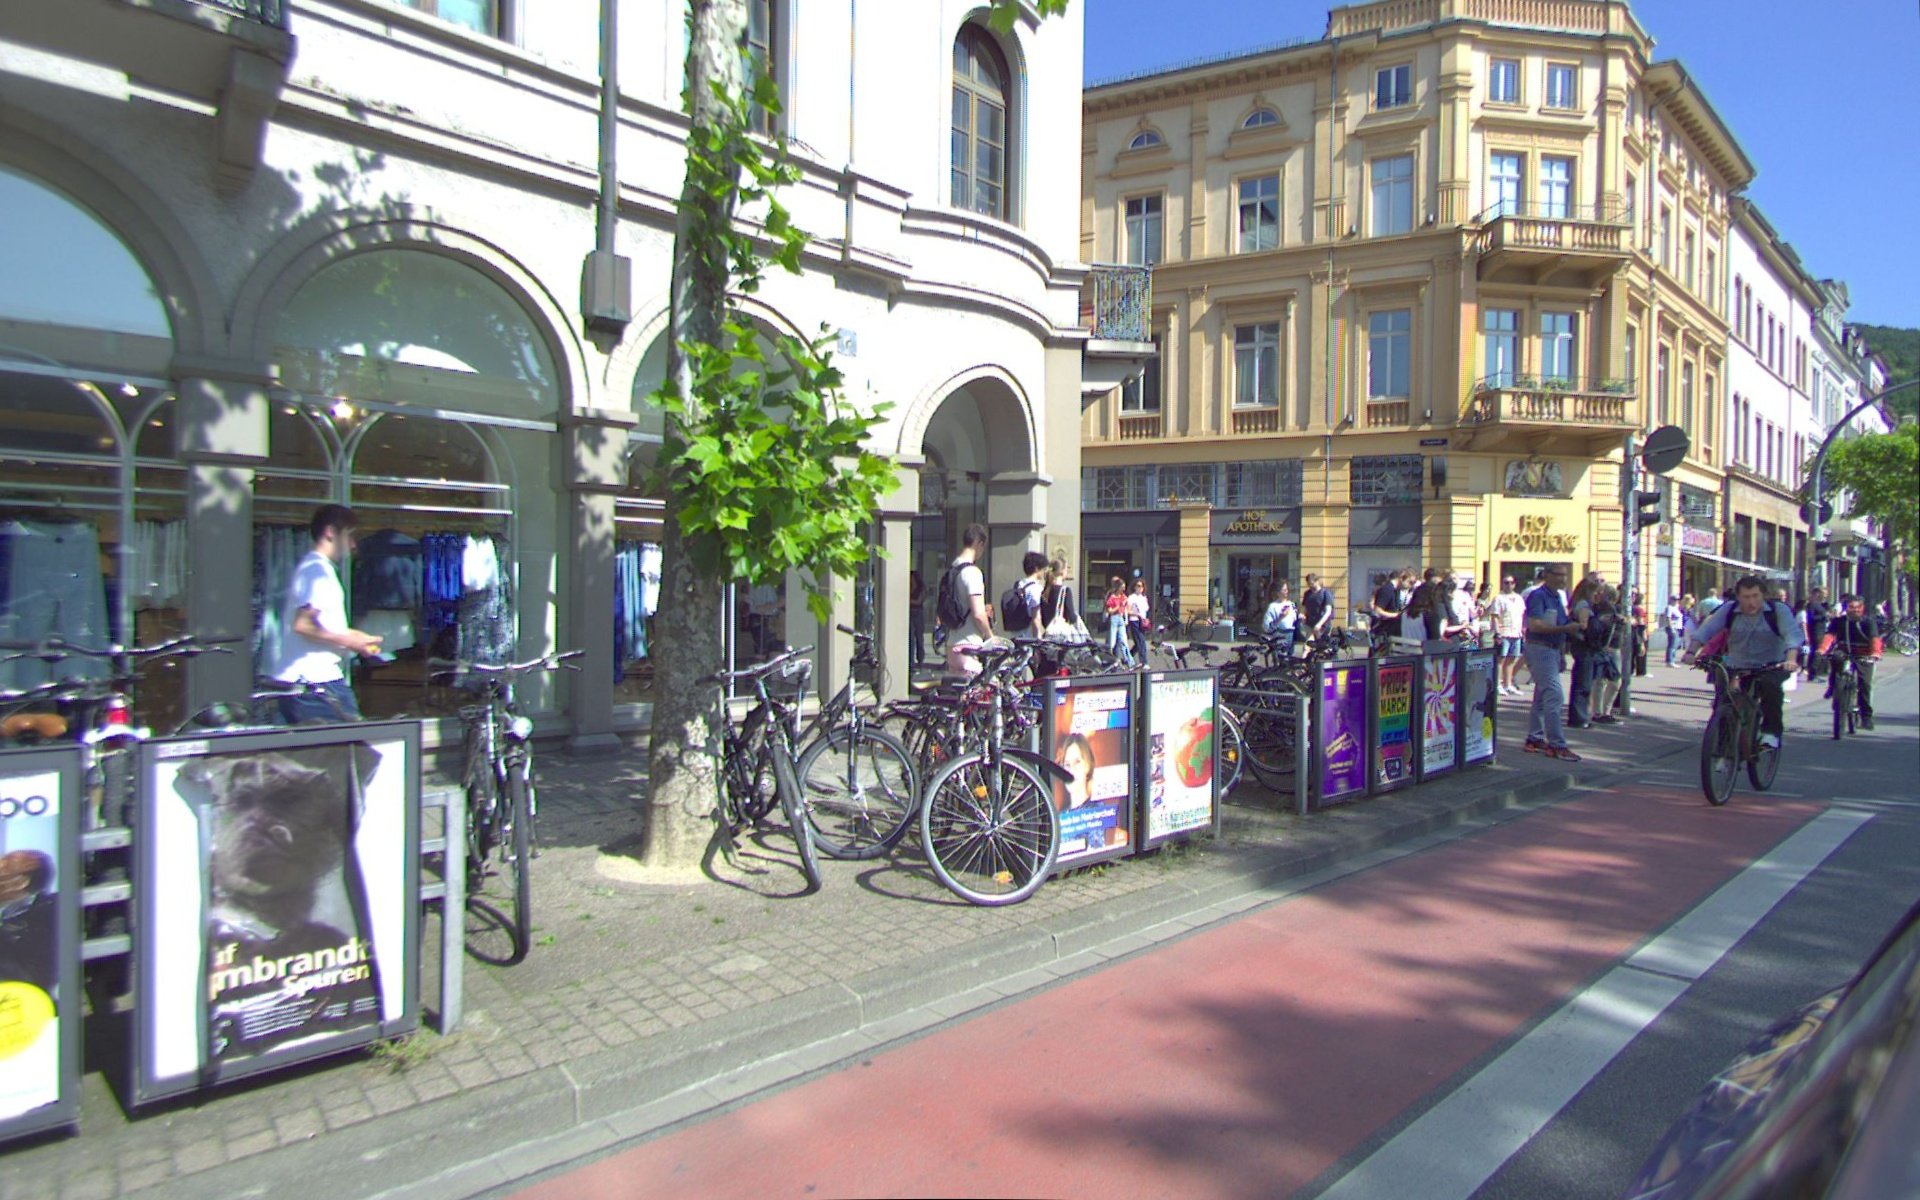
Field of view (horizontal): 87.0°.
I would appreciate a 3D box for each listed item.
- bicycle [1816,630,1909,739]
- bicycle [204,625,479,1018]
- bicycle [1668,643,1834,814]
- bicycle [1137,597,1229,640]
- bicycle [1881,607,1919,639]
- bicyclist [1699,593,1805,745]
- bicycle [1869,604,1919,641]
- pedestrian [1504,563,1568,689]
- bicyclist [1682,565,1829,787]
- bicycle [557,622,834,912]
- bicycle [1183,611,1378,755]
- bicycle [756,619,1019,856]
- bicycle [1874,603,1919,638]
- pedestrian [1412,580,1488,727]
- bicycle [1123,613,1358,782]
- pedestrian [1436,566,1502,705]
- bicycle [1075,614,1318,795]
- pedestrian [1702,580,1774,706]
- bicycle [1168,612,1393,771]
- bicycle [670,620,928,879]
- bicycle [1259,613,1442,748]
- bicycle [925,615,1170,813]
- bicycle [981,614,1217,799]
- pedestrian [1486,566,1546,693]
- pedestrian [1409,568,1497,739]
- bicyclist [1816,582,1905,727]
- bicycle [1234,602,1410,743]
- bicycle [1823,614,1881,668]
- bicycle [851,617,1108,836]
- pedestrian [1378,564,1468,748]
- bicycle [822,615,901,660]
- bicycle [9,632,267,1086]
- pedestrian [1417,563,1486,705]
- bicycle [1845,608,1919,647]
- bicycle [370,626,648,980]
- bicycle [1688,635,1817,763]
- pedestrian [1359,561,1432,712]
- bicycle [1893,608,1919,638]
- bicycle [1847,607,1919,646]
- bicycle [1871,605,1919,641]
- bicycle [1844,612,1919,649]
[{"bbox_3d":[10.420,0.924,11.667,1.867,1.107,0.665,0,-1,-45],"label":"bicycle"},{"bbox_3d":[-2.497,0.709,3.989,0.583,1.161,1.754,0,0,-43],"label":"bicycle"},{"bbox_3d":[6.205,0.921,7.902,1.866,1.107,0.734,0,-1,-44],"label":"bicycle"},{"bbox_3d":[6.229,0.523,28.256,2.393,1.166,0.775,-1,-1,25],"label":"bicycle"},{"bbox_3d":[36.249,0.868,38.487,0.583,1.161,1.754,0,0,-43],"label":"bicycle"},{"bbox_3d":[7.817,0.649,9.988,0.765,1.414,0.689,0,-2,-43],"label":"bicyclist"},{"bbox_3d":[31.278,0.742,33.487,0.583,1.161,1.754,0,0,-43],"label":"bicycle"},{"bbox_3d":[8.878,0.389,15.606,0.612,1.882,0.685,0,-2,-45],"label":"pedestrian"},{"bbox_3d":[6.162,0.549,7.839,0.765,1.597,0.749,0,-2,-43],"label":"bicyclist"},{"bbox_3d":[-1.393,0.721,5.101,0.588,1.161,1.754,0,0,-43],"label":"bicycle"},{"bbox_3d":[2.869,0.695,9.187,0.514,1.161,1.657,0,0,-43],"label":"bicycle"},{"bbox_3d":[-0.487,0.715,5.995,0.583,1.161,1.754,0,0,-43],"label":"bicycle"},{"bbox_3d":[32.802,0.710,34.973,0.583,1.161,1.754,0,0,-43],"label":"bicycle"},{"bbox_3d":[5.550,0.589,11.473,0.612,1.604,0.577,0,-2,-45],"label":"pedestrian"},{"bbox_3d":[2.175,0.703,8.026,0.583,1.161,1.754,0,0,-43],"label":"bicycle"},{"bbox_3d":[6.676,0.452,13.286,0.612,1.762,0.577,0,-2,-45],"label":"pedestrian"},{"bbox_3d":[1.716,0.708,7.570,0.583,1.161,1.754,0,0,-43],"label":"bicycle"},{"bbox_3d":[10.990,0.588,14.317,0.572,1.705,0.721,3,1,25],"label":"pedestrian"},{"bbox_3d":[2.641,0.703,8.492,0.583,1.161,1.754,0,0,-43],"label":"bicycle"},{"bbox_3d":[-0.943,0.718,5.563,0.509,1.161,1.754,0,0,-43],"label":"bicycle"},{"bbox_3d":[3.721,0.725,9.755,0.418,1.161,1.630,0,0,-43],"label":"bicycle"},{"bbox_3d":[0.555,0.709,7.010,0.583,1.161,1.754,0,0,-43],"label":"bicycle"},{"bbox_3d":[0.972,0.707,7.453,0.583,1.173,1.754,0,0,-43],"label":"bicycle"},{"bbox_3d":[8.203,0.424,14.929,0.686,1.825,0.577,0,-2,-45],"label":"pedestrian"},{"bbox_3d":[5.146,0.535,10.561,0.763,1.706,0.576,0,-2,-45],"label":"pedestrian"},{"bbox_3d":[10.419,0.606,11.711,0.765,1.597,0.688,0,-2,-45],"label":"bicyclist"},{"bbox_3d":[3.355,0.631,9.484,0.418,1.212,1.530,0,0,-43],"label":"bicycle"},{"bbox_3d":[20.798,0.923,23.631,0.732,1.106,1.874,4,3,34],"label":"bicycle"},{"bbox_3d":[0.068,0.713,6.441,0.583,1.161,1.754,0,0,-43],"label":"bicycle"},{"bbox_3d":[4.440,0.527,9.744,0.568,1.706,0.621,-1,-1,5],"label":"pedestrian"},{"bbox_3d":[-2.230,0.834,22.759,1.996,0.989,0.493,-1,-1,39],"label":"bicycle"},{"bbox_3d":[-2.972,0.730,3.594,0.583,1.161,1.754,0,0,-43],"label":"bicycle"},{"bbox_3d":[6.240,0.420,12.846,0.612,1.746,0.577,0,-2,-45],"label":"pedestrian"},{"bbox_3d":[28.630,0.842,31.358,0.583,1.161,1.754,0,0,-43],"label":"bicycle"},{"bbox_3d":[-2.002,0.723,4.353,0.582,1.161,1.755,0,0,-42],"label":"bicycle"},{"bbox_3d":[7.833,0.919,9.974,1.789,1.107,0.734,1,-1,-44],"label":"bicycle"},{"bbox_3d":[5.125,0.419,11.911,0.612,1.706,0.577,0,-2,-45],"label":"pedestrian"},{"bbox_3d":[37.959,0.923,39.859,0.583,1.161,1.754,0,0,-43],"label":"bicycle"},{"bbox_3d":[29.204,0.813,31.945,0.583,1.161,1.754,0,0,-43],"label":"bicycle"},{"bbox_3d":[31.787,0.779,33.987,0.583,1.161,1.754,0,0,-43],"label":"bicycle"},{"bbox_3d":[27.871,0.903,30.560,0.583,1.048,1.754,0,0,-43],"label":"bicycle"}]
